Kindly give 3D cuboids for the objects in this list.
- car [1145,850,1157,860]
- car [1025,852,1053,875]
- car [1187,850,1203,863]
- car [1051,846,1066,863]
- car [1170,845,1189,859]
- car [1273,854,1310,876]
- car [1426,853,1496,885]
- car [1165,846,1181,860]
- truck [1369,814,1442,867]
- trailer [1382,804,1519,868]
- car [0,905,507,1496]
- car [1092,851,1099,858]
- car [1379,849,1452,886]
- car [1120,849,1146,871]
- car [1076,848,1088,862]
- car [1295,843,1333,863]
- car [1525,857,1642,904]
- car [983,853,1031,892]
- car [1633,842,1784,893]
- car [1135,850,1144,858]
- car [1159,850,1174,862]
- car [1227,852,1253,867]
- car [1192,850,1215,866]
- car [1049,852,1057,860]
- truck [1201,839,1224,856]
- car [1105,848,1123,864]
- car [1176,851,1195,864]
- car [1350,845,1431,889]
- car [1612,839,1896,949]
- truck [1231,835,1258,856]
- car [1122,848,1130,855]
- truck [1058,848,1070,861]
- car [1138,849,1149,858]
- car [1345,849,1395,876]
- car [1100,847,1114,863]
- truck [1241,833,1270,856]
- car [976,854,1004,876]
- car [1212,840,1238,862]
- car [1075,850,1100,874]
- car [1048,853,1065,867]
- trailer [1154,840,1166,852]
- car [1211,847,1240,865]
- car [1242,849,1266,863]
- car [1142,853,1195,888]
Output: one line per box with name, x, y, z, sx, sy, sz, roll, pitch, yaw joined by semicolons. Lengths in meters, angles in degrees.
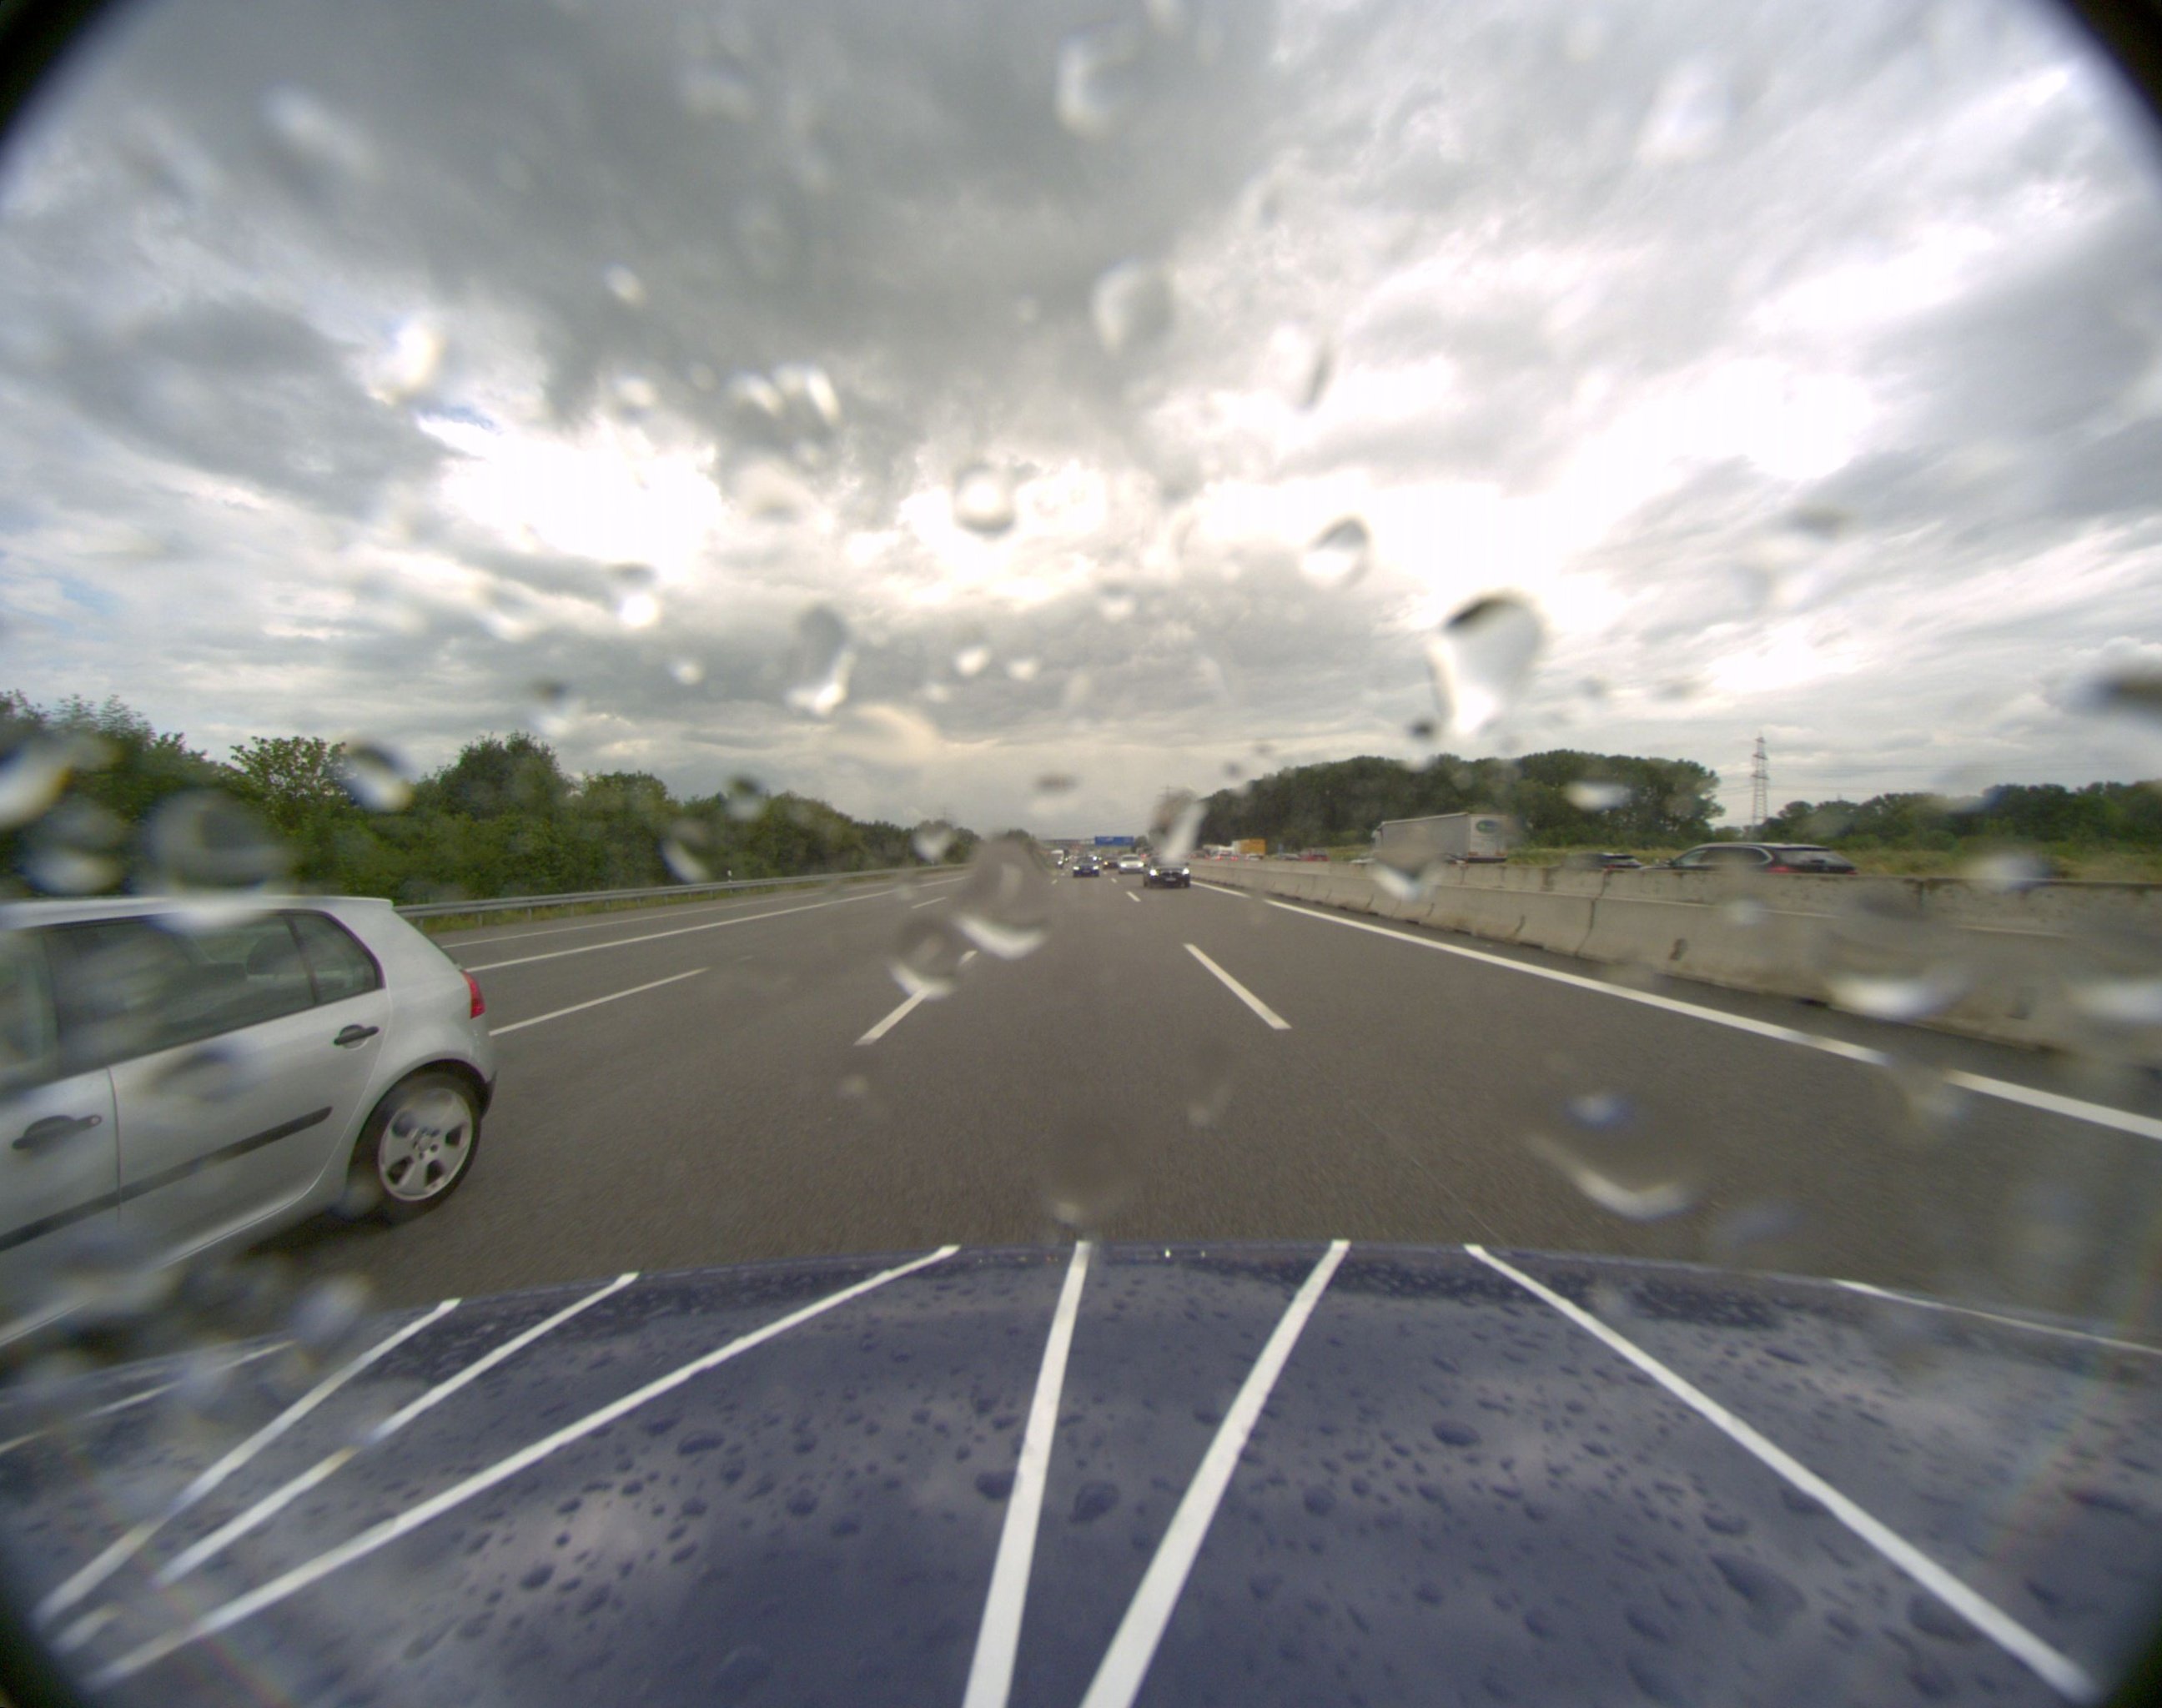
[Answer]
car;14.621;0.197;158.896;1.999;2.002;5.418;-2;0;0
car;-3.079;0.673;56.252;1.711;1.621;4.457;-2;0;1
car;19.710;0.412;131.103;1.998;2.002;4.813;-2;0;0
car;-3.535;0.096;120.141;2.145;2.486;5.447;-2;0;0
car;14.639;-0.255;113.679;1.999;2.002;5.757;-2;0;0
car;18.544;0.926;67.194;1.998;1.862;4.760;-2;0;1
car;22.729;0.860;45.650;1.825;1.771;4.672;-2;0;0
car;14.758;-0.156;121.843;1.998;2.002;4.424;-2;0;0
truck;26.177;-1.026;61.582;3.229;4.034;6.232;-2;0;0
trailer;26.153;-1.153;55.046;3.247;4.005;13.807;-2;0;0
car;-3.823;1.016;1.815;1.800;1.468;4.037;-2;0;0
car;4.266;0.165;218.088;1.998;2.002;4.751;-2;0;1
car;18.424;0.689;42.091;1.998;1.862;4.760;-2;0;1
car;3.973;0.452;58.720;1.822;1.565;4.000;-2;0;1
car;0.252;0.179;141.132;2.145;2.486;5.448;-2;0;1
car;22.324;-0.108;73.070;1.998;1.862;5.392;-2;0;1
car;21.885;1.099;33.353;1.998;1.862;4.760;-2;0;1
car;-3.306;0.784;34.811;1.785;1.603;4.597;-2;0;-1
car;26.330;0.524;32.181;2.436;1.941;4.828;-2;0;1
car;14.610;-0.050;189.917;1.999;1.955;4.696;-2;0;0
car;14.748;0.279;131.253;1.999;2.002;4.686;-2;0;0
car;18.724;0.624;89.779;1.998;1.704;4.699;-2;0;0
car;14.685;0.450;91.628;1.998;1.771;4.672;-2;0;0
car;-7.426;0.444;200.049;1.999;2.002;4.354;-2;0;-1
truck;26.629;-1.355;154.083;2.917;3.271;9.201;-2;0;0
car;3.377;0.204;78.660;1.711;1.621;4.000;-2;0;1
car;14.270;0.448;104.283;1.998;1.739;4.000;-2;0;0
car;14.265;0.577;35.284;1.998;1.880;4.362;-2;0;1
car;14.213;0.742;16.555;1.998;2.002;4.760;-2;0;1
truck;29.653;-1.588;138.169;2.885;3.591;10.311;-2;0;1
car;13.863;-0.687;235.564;1.999;1.955;4.696;-2;0;0
truck;-3.616;0.112;161.140;2.392;2.726;6.592;-2;0;-3
car;14.935;-0.063;181.626;1.999;2.002;4.696;-2;0;0
car;21.891;0.608;57.761;1.998;1.862;4.760;-2;0;1
car;4.261;0.117;124.030;2.145;2.486;5.448;-2;0;2
truck;29.504;-1.571;128.889;2.885;3.591;9.580;-2;0;1
car;-7.288;0.854;61.273;1.815;1.589;4.695;-2;0;-1
car;22.280;-0.478;117.992;2.667;3.258;6.561;-2;0;-1
car;0.493;0.548;54.236;1.711;1.562;4.346;-2;0;1
car;-2.912;0.682;90.164;1.945;1.482;4.774;-2;0;-2
trailer;25.562;-2.538;246.113;2.867;3.740;9.160;-1;0;0
car;14.672;0.196;77.152;1.998;1.704;4.871;-2;0;0
car;22.167;0.300;97.492;1.998;1.704;4.699;-2;0;0
car;3.798;0.694;33.630;1.922;1.407;4.000;-1;0;1
